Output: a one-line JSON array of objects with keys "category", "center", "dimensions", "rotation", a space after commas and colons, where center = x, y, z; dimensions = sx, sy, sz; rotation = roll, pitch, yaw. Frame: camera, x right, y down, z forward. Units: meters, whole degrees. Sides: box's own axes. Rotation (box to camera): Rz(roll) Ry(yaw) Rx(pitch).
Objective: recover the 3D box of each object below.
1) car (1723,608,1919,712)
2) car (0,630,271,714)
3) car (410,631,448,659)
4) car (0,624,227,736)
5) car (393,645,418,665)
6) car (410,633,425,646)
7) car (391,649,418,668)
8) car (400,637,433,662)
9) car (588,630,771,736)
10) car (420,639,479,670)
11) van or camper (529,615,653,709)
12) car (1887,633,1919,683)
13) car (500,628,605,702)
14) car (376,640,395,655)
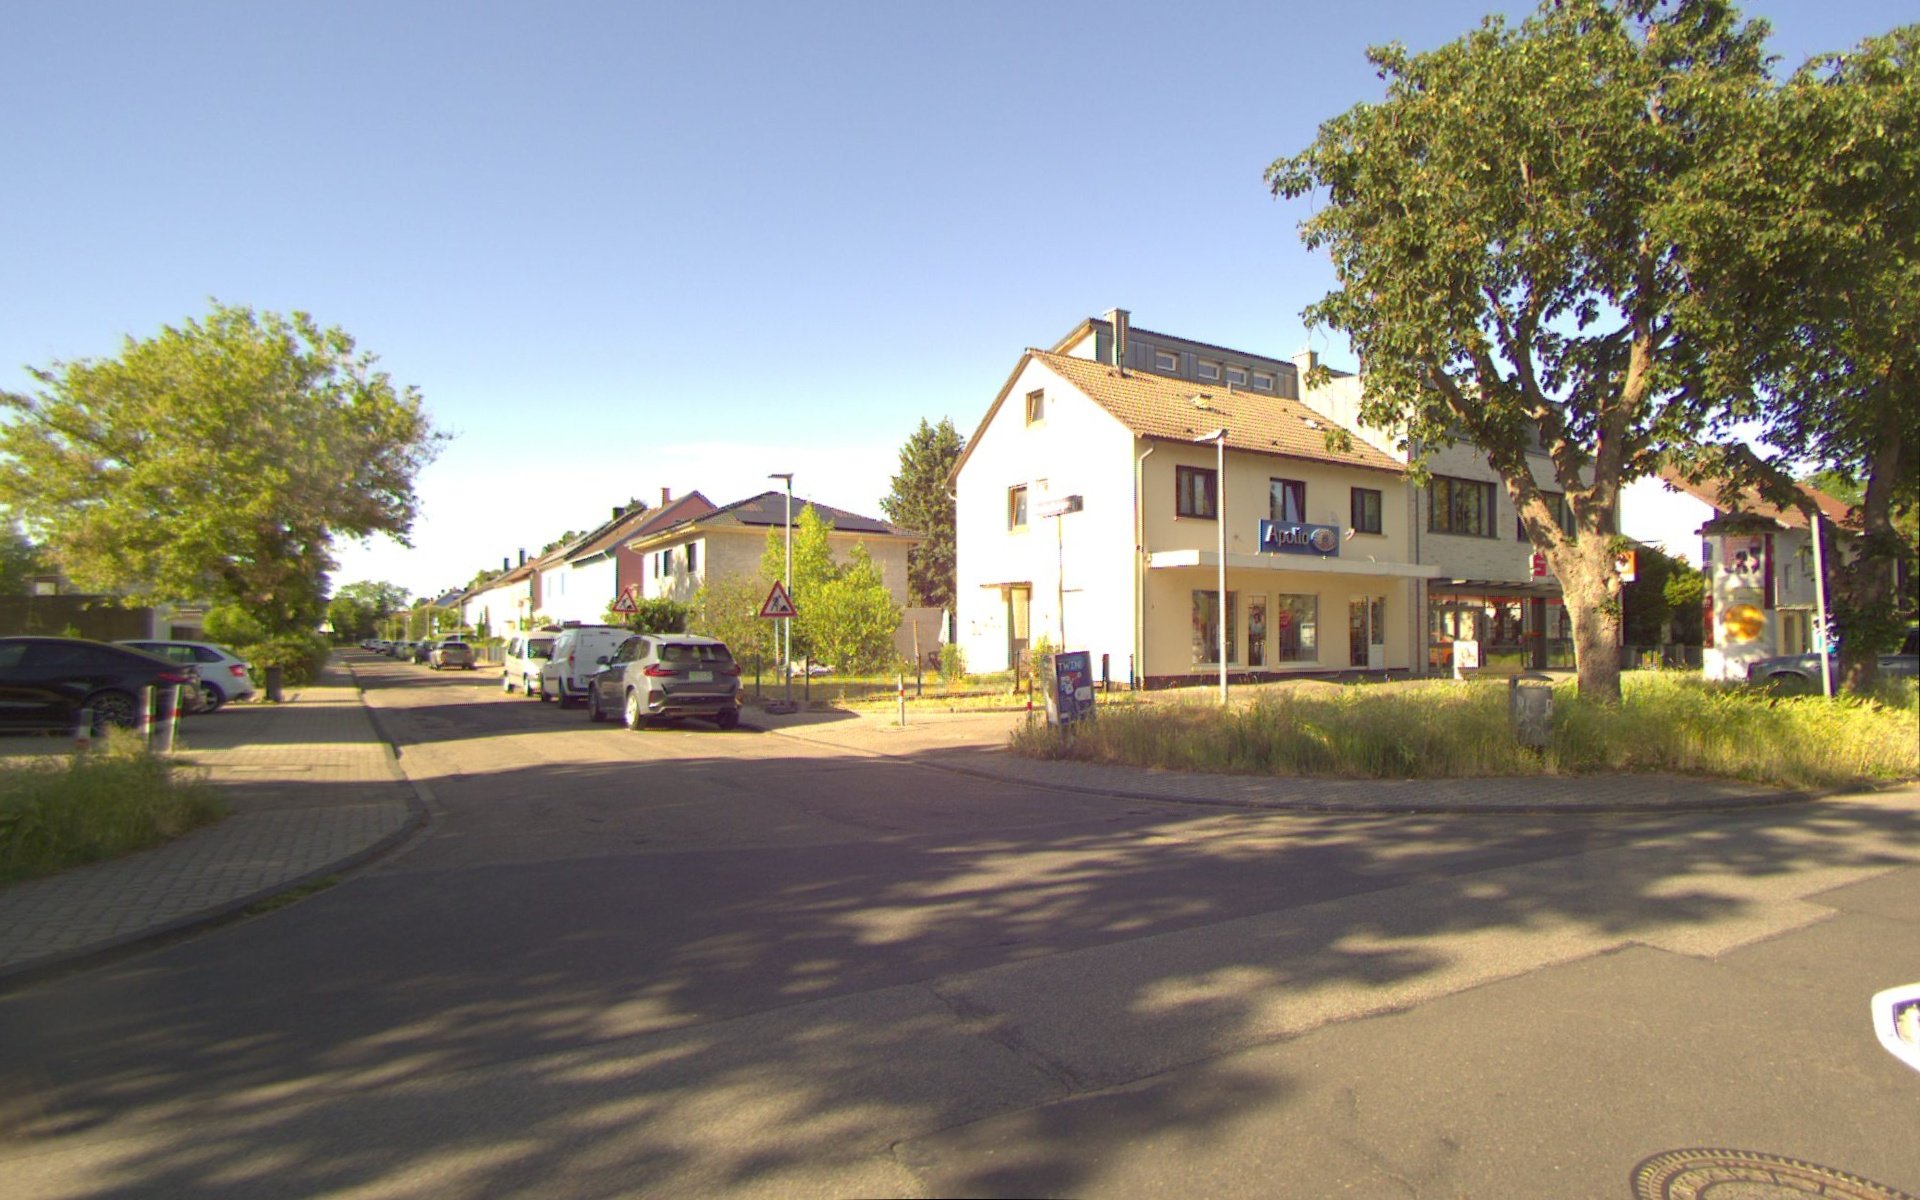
[{"category": "car", "center": [17.768, 1.138, 18.889], "dimensions": [1.978, 1.751, 5.032], "rotation": [2, 1, -32]}, {"category": "car", "center": [-16.722, 1.451, 20.219], "dimensions": [4.622, 1.548, 1.860], "rotation": [4, -4, -34]}, {"category": "car", "center": [-33.731, 2.839, 63.744], "dimensions": [1.976, 1.601, 4.871], "rotation": [3, -2, -29]}, {"category": "car", "center": [-14.191, 1.173, 15.199], "dimensions": [4.860, 1.583, 1.981], "rotation": [4, -4, -34]}, {"category": "car", "center": [-51.769, 5.082, 93.739], "dimensions": [1.976, 1.601, 4.871], "rotation": [3, -2, -29]}, {"category": "car", "center": [-78.552, 5.702, 145.395], "dimensions": [1.819, 1.601, 3.984], "rotation": [3, -2, -29]}, {"category": "car", "center": [-47.914, 5.023, 86.658], "dimensions": [1.976, 1.601, 4.872], "rotation": [1, -2, -29]}, {"category": "car", "center": [-40.555, 3.688, 74.908], "dimensions": [1.976, 1.601, 4.871], "rotation": [3, -2, -29]}, {"category": "car", "center": [-5.137, 1.429, 18.060], "dimensions": [1.980, 1.659, 3.962], "rotation": [2, -4, -35]}, {"category": "car", "center": [-26.583, 2.789, 52.255], "dimensions": [1.981, 1.504, 4.859], "rotation": [1, -2, -36]}, {"category": "van or camper", "center": [-9.035, 1.433, 24.344], "dimensions": [1.977, 2.040, 4.649], "rotation": [2, -2, -31]}, {"category": "car", "center": [31.845, 1.870, 31.376], "dimensions": [1.851, 1.563, 3.962], "rotation": [2, -1, -34]}, {"category": "car", "center": [-11.579, 1.767, 28.404], "dimensions": [1.979, 1.854, 3.963], "rotation": [2, -1, -33]}, {"category": "car", "center": [-66.928, 5.540, 117.103], "dimensions": [1.819, 1.601, 3.984], "rotation": [3, -2, -29]}]
